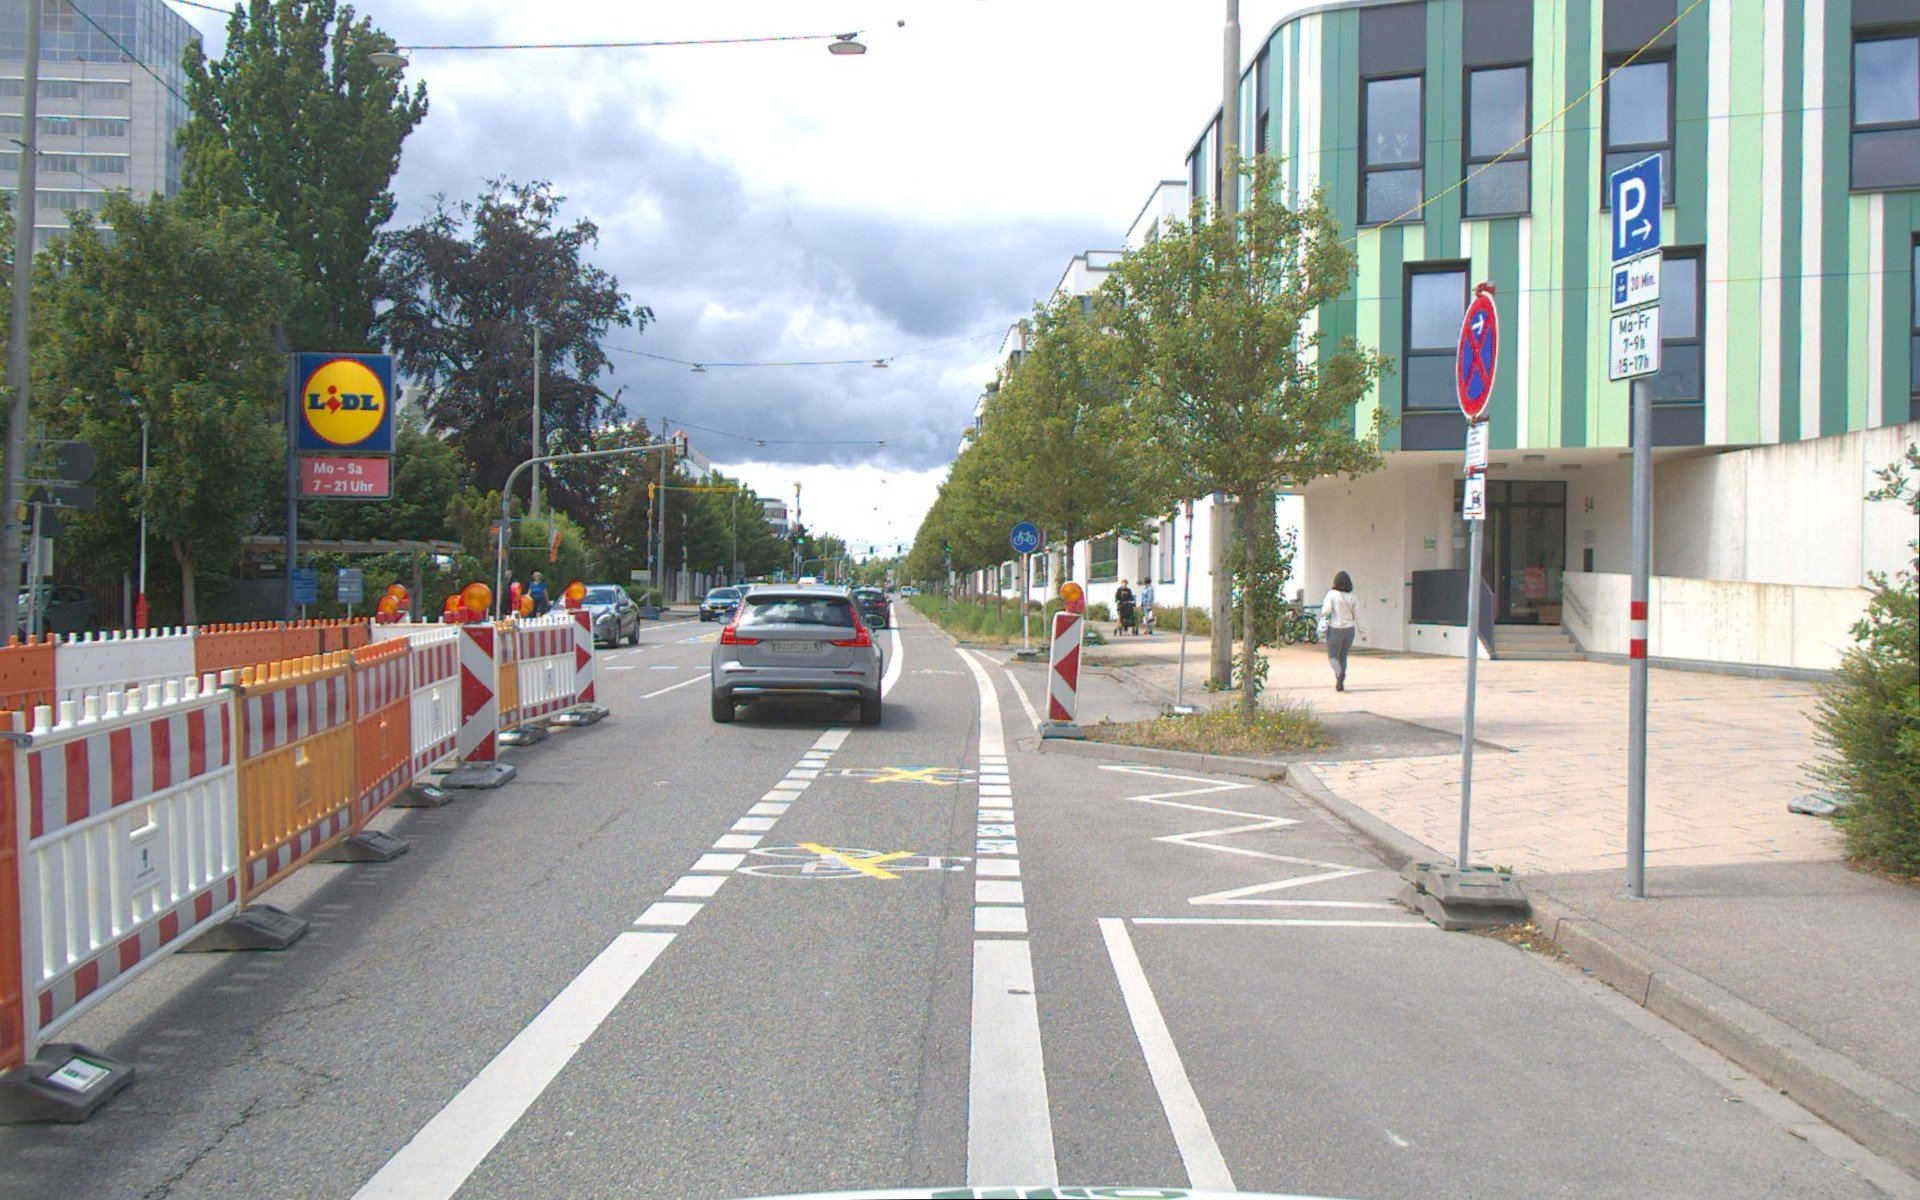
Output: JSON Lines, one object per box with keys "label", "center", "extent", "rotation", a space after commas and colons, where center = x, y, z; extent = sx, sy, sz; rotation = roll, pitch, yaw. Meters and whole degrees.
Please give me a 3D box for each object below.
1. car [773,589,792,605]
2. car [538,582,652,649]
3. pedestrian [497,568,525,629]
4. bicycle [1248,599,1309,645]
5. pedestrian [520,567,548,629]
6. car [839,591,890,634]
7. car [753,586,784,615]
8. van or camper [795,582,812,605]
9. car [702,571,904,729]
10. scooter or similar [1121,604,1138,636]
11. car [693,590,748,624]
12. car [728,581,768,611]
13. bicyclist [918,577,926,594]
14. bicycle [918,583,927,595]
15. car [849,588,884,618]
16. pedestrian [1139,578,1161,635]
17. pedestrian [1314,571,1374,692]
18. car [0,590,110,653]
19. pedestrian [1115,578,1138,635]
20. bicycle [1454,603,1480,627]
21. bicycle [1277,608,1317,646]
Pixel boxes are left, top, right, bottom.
{"label": "car", "center": [-17.536, -0.264, 163.475], "extent": [1.628, 1.542, 3.998], "rotation": [1, 0, -3]}
{"label": "car", "center": [-8.890, 0.358, 40.592], "extent": [1.816, 1.539, 4.001], "rotation": [0, 0, 1]}
{"label": "pedestrian", "center": [-13.868, -0.050, 51.086], "extent": [0.668, 1.887, 0.706], "rotation": [0, 0, -3]}
{"label": "bicycle", "center": [7.608, 0.518, 39.523], "extent": [1.440, 1.064, 0.306], "rotation": [0, 0, -15]}
{"label": "pedestrian", "center": [-13.138, -0.058, 51.055], "extent": [0.668, 1.887, 0.892], "rotation": [0, 0, -3]}
{"label": "car", "center": [-3.623, 0.447, 62.782], "extent": [1.817, 1.539, 3.997], "rotation": [1, 0, -3]}
{"label": "car", "center": [-13.076, 0.057, 112.986], "extent": [1.804, 1.938, 4.683], "rotation": [0, 0, -3]}
{"label": "van or camper", "center": [-19.442, -0.808, 205.119], "extent": [1.955, 2.782, 6.043], "rotation": [0, 0, -7]}
{"label": "car", "center": [-1.667, 0.507, 18.850], "extent": [1.816, 1.539, 4.000], "rotation": [2, 0, 1]}
{"label": "scooter or similar", "center": [5.005, 0.588, 48.901], "extent": [0.413, 0.921, 0.681], "rotation": [0, 0, -3]}
{"label": "car", "center": [-10.638, 0.289, 73.738], "extent": [1.954, 1.424, 4.808], "rotation": [-2, 0, -3]}
{"label": "car", "center": [-11.196, -0.215, 87.604], "extent": [1.714, 1.583, 4.400], "rotation": [0, 0, -3]}
{"label": "bicyclist", "center": [-4.816, -1.823, 209.747], "extent": [0.994, 2.049, 1.130], "rotation": [-1, 0, -3]}
{"label": "bicycle", "center": [-4.796, -1.343, 209.673], "extent": [1.046, 1.478, 2.975], "rotation": [-1, 0, -3]}
{"label": "car", "center": [-5.065, 0.164, 89.576], "extent": [1.808, 1.539, 3.997], "rotation": [1, 0, -3]}
{"label": "pedestrian", "center": [5.615, 0.189, 48.900], "extent": [0.539, 1.684, 0.606], "rotation": [0, 0, -3]}
{"label": "pedestrian", "center": [5.103, 0.411, 22.018], "extent": [0.569, 1.579, 0.868], "rotation": [0, 0, -3]}
{"label": "car", "center": [-23.015, 0.511, 41.022], "extent": [1.954, 1.478, 3.998], "rotation": [0, 0, -3]}
{"label": "pedestrian", "center": [4.973, 0.202, 49.440], "extent": [0.593, 1.684, 0.551], "rotation": [0, 0, -3]}
{"label": "bicycle", "center": [9.805, 0.289, 32.005], "extent": [0.300, 0.460, 0.799], "rotation": [0, 0, 3]}
{"label": "bicycle", "center": [7.843, 0.624, 38.455], "extent": [1.013, 0.856, 0.303], "rotation": [0, 0, -36]}
